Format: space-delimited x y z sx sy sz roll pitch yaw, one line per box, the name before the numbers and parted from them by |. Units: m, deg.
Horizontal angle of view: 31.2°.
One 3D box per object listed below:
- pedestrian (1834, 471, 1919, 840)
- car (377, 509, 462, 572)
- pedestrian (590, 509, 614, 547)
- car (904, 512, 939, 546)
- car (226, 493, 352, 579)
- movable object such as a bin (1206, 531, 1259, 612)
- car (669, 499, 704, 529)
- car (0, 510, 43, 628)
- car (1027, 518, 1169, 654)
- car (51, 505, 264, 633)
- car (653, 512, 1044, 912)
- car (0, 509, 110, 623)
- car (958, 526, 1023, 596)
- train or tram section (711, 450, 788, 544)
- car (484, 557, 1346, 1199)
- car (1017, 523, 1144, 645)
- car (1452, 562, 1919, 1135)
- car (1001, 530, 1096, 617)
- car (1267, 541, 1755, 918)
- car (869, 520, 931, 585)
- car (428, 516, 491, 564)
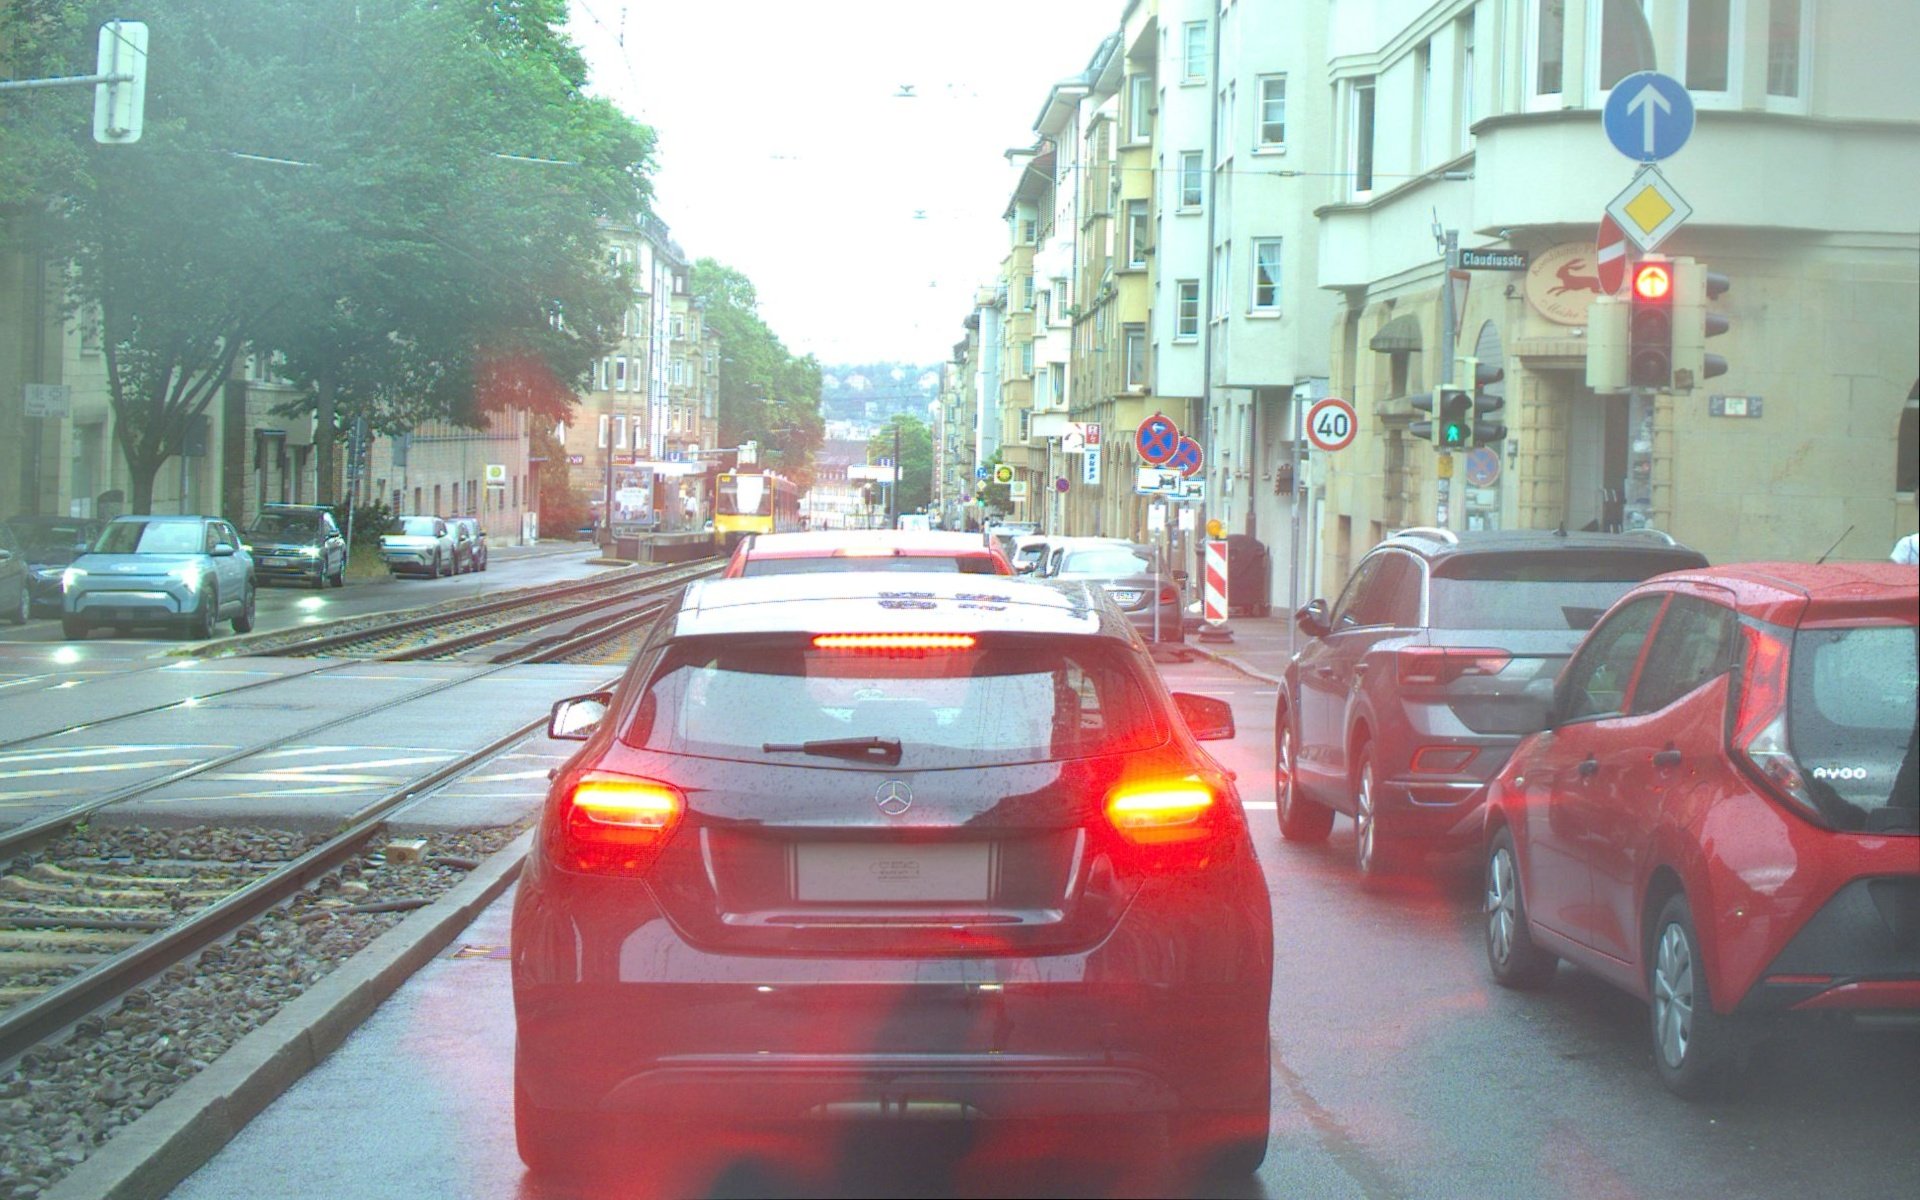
pedestrian | 4.803 0.260 16.808 0.741 1.742 1.111 1 0 -1
car | -13.992 -1.529 89.158 1.589 1.575 3.918 1 0 -1
pedestrian | -18.845 -3.774 180.952 1.053 1.951 1.043 2 1 1
car | -2.235 -4.125 199.627 1.993 1.870 4.000 1 0 -1
car | -13.955 -1.314 71.695 1.875 1.731 3.918 1 0 -1
movable object such as a bin | 4.714 -0.494 59.566 0.878 1.384 0.982 1 0 3
car | -12.084 -3.785 152.181 1.377 1.245 3.298 1 0 -2
car | -13.481 -0.424 45.686 1.752 1.547 4.036 1 0 -4
car | 1.670 -0.203 42.634 1.544 1.585 3.548 1 1 -1
car | -10.456 -0.407 45.072 1.898 1.582 3.973 1 0 -1
car | -0.477 0.438 15.837 1.565 1.604 3.814 1 0 -1
car | -13.734 -0.512 50.716 1.716 1.605 3.919 1 0 -5
car | 0.637 -0.847 73.587 1.294 1.437 2.929 1 1 -1
train or tram section | -9.108 -4.408 149.699 2.783 3.847 10.430 1 0 -1
car | -0.124 0.639 9.450 1.829 1.453 4.104 1 1 -1
car | 1.614 -0.240 47.109 1.544 1.585 3.548 1 1 -1
car | 2.652 0.633 10.519 1.642 1.443 3.299 1 1 -3
car | 1.556 -0.491 61.519 1.544 1.481 3.548 1 1 -1
car | 2.388 0.490 15.757 1.544 1.481 3.830 1 1 -1
car | -1.533 -1.235 88.959 1.544 1.630 3.686 1 1 -1
car | -14.336 -1.714 98.568 1.448 1.326 3.272 1 0 -2
